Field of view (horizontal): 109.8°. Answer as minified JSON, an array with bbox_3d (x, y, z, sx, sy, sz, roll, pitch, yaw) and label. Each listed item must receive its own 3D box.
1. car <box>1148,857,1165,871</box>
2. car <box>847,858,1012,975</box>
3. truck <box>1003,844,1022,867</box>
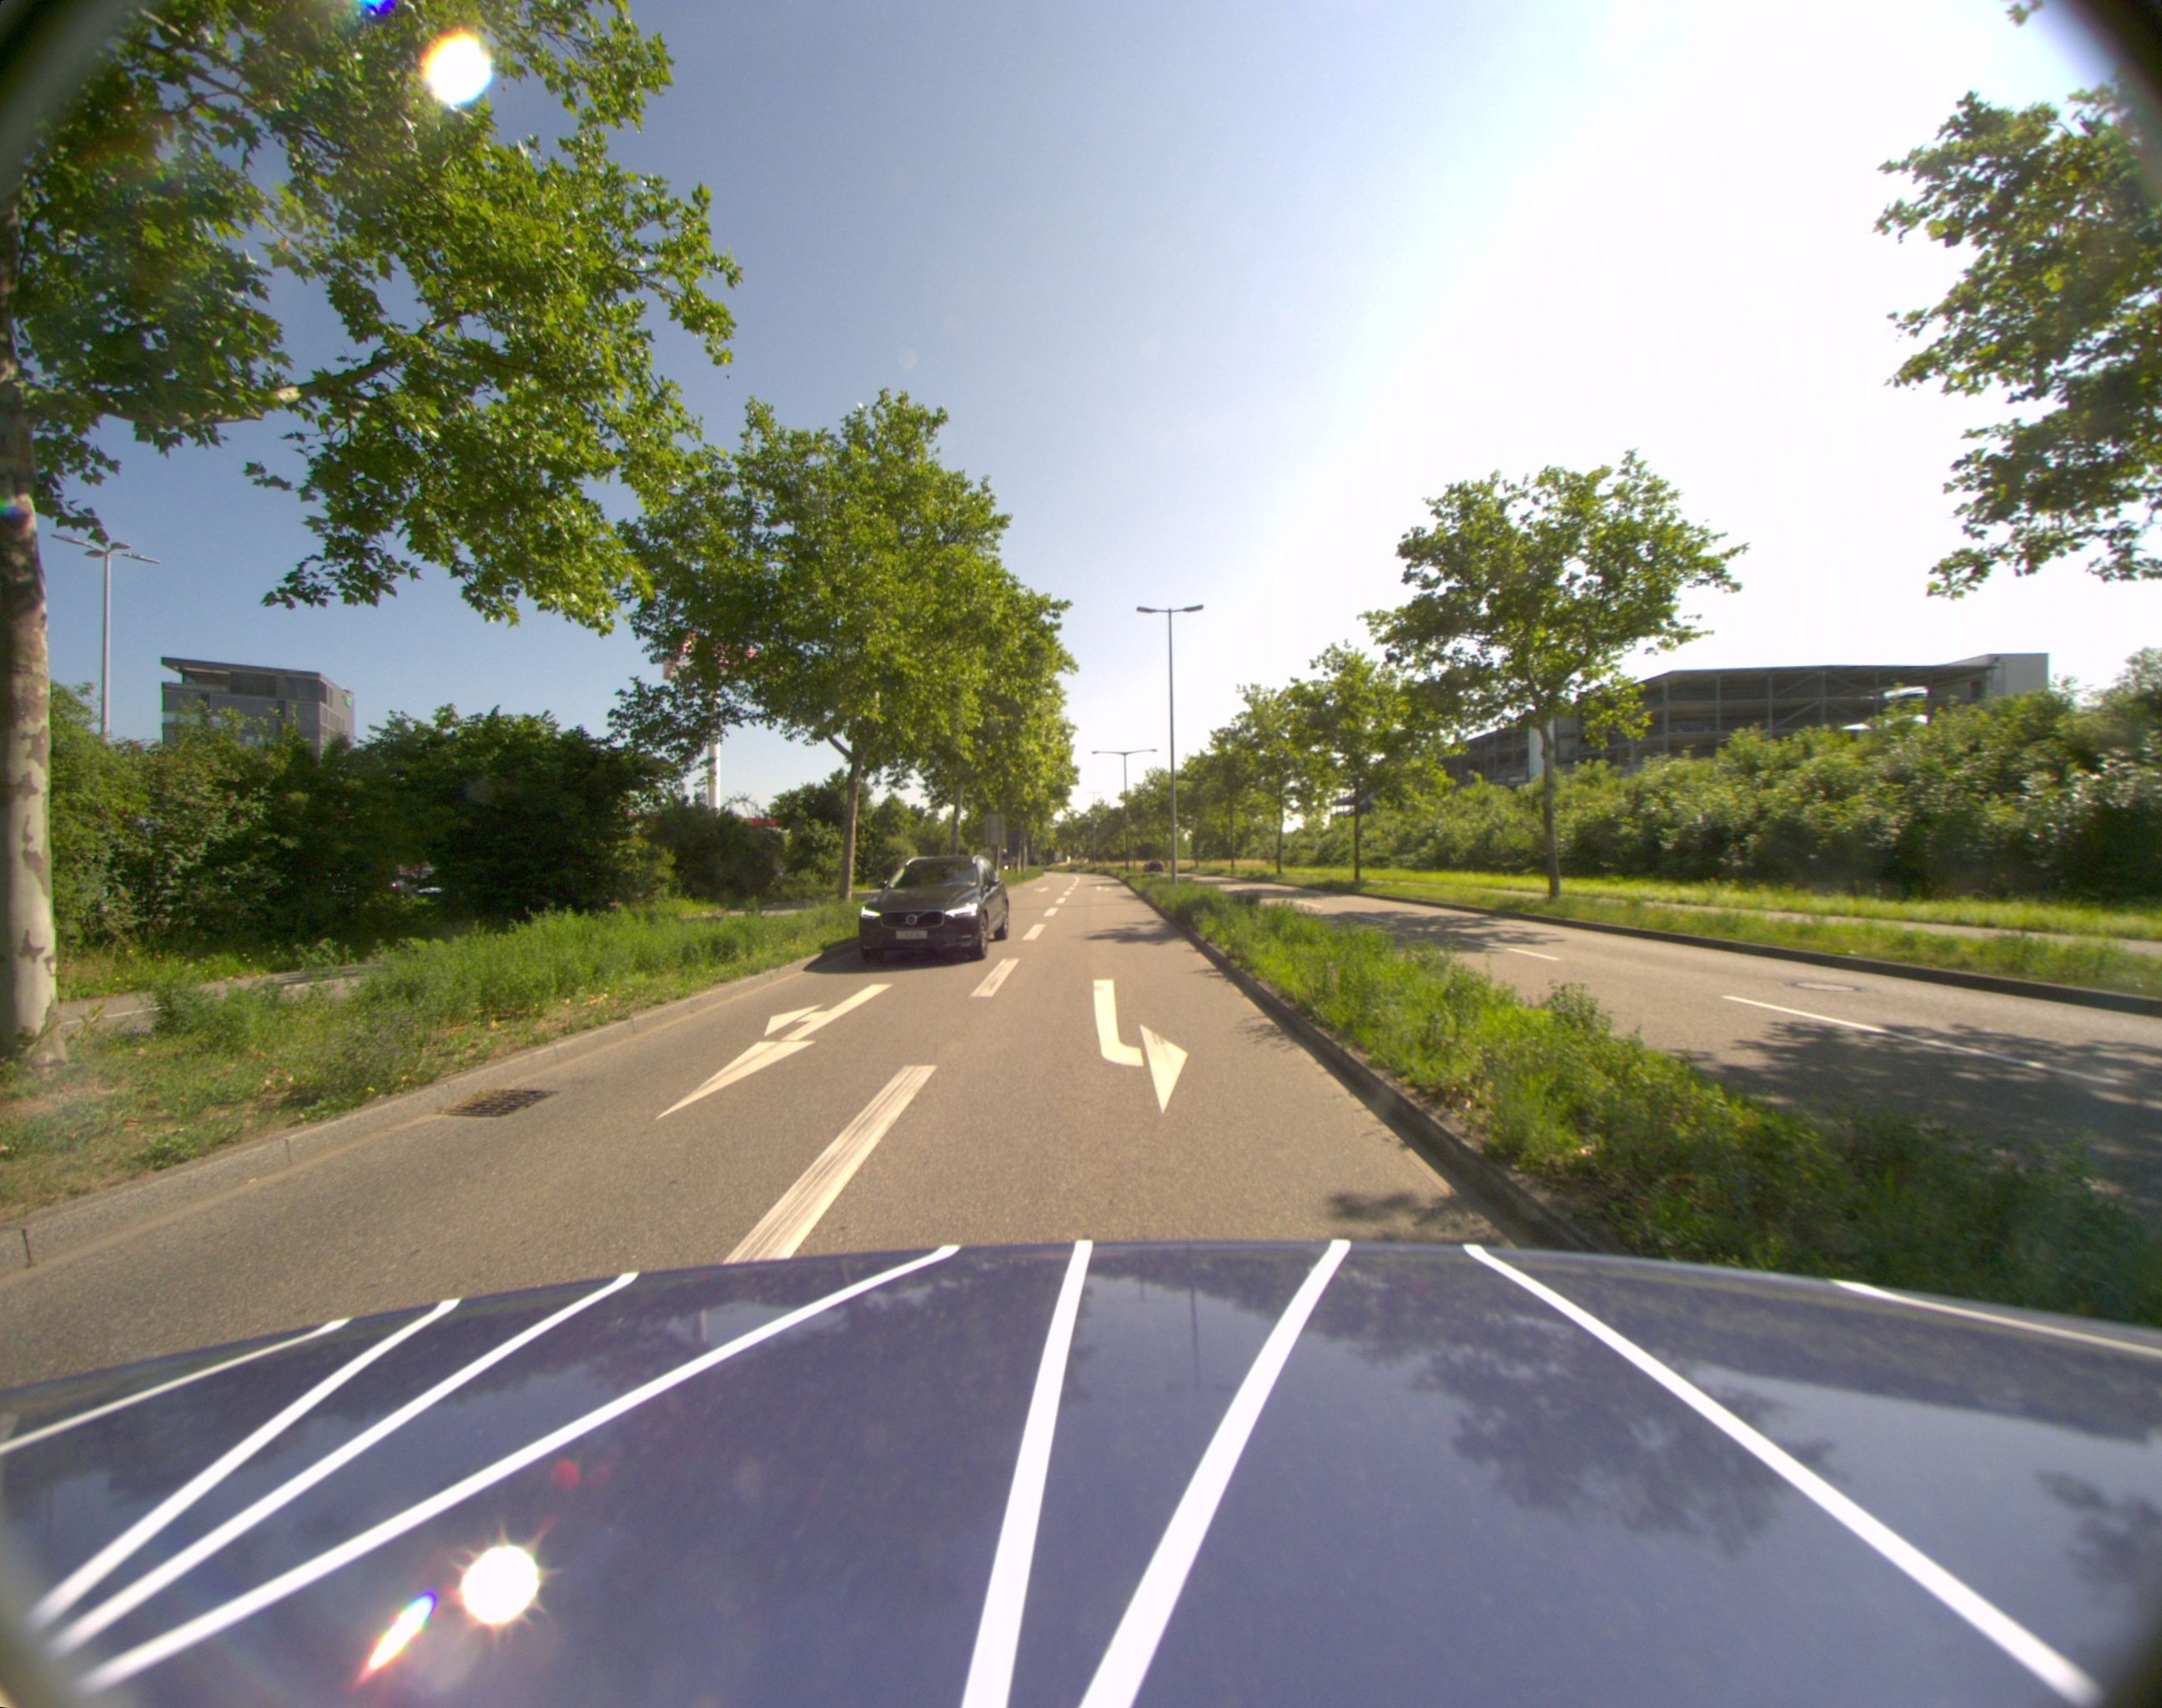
[{"bbox_3d":[8.617,1.148,86.595,1.574,1.461,3.927,-1,0,0],"label":"car"},{"bbox_3d":[-2.399,0.914,13.275,1.924,1.613,4.564,-1,0,0],"label":"car"},{"bbox_3d":[-11.921,0.293,131.985,2.744,3.872,5.845,-2,0,-11],"label":"truck"}]
